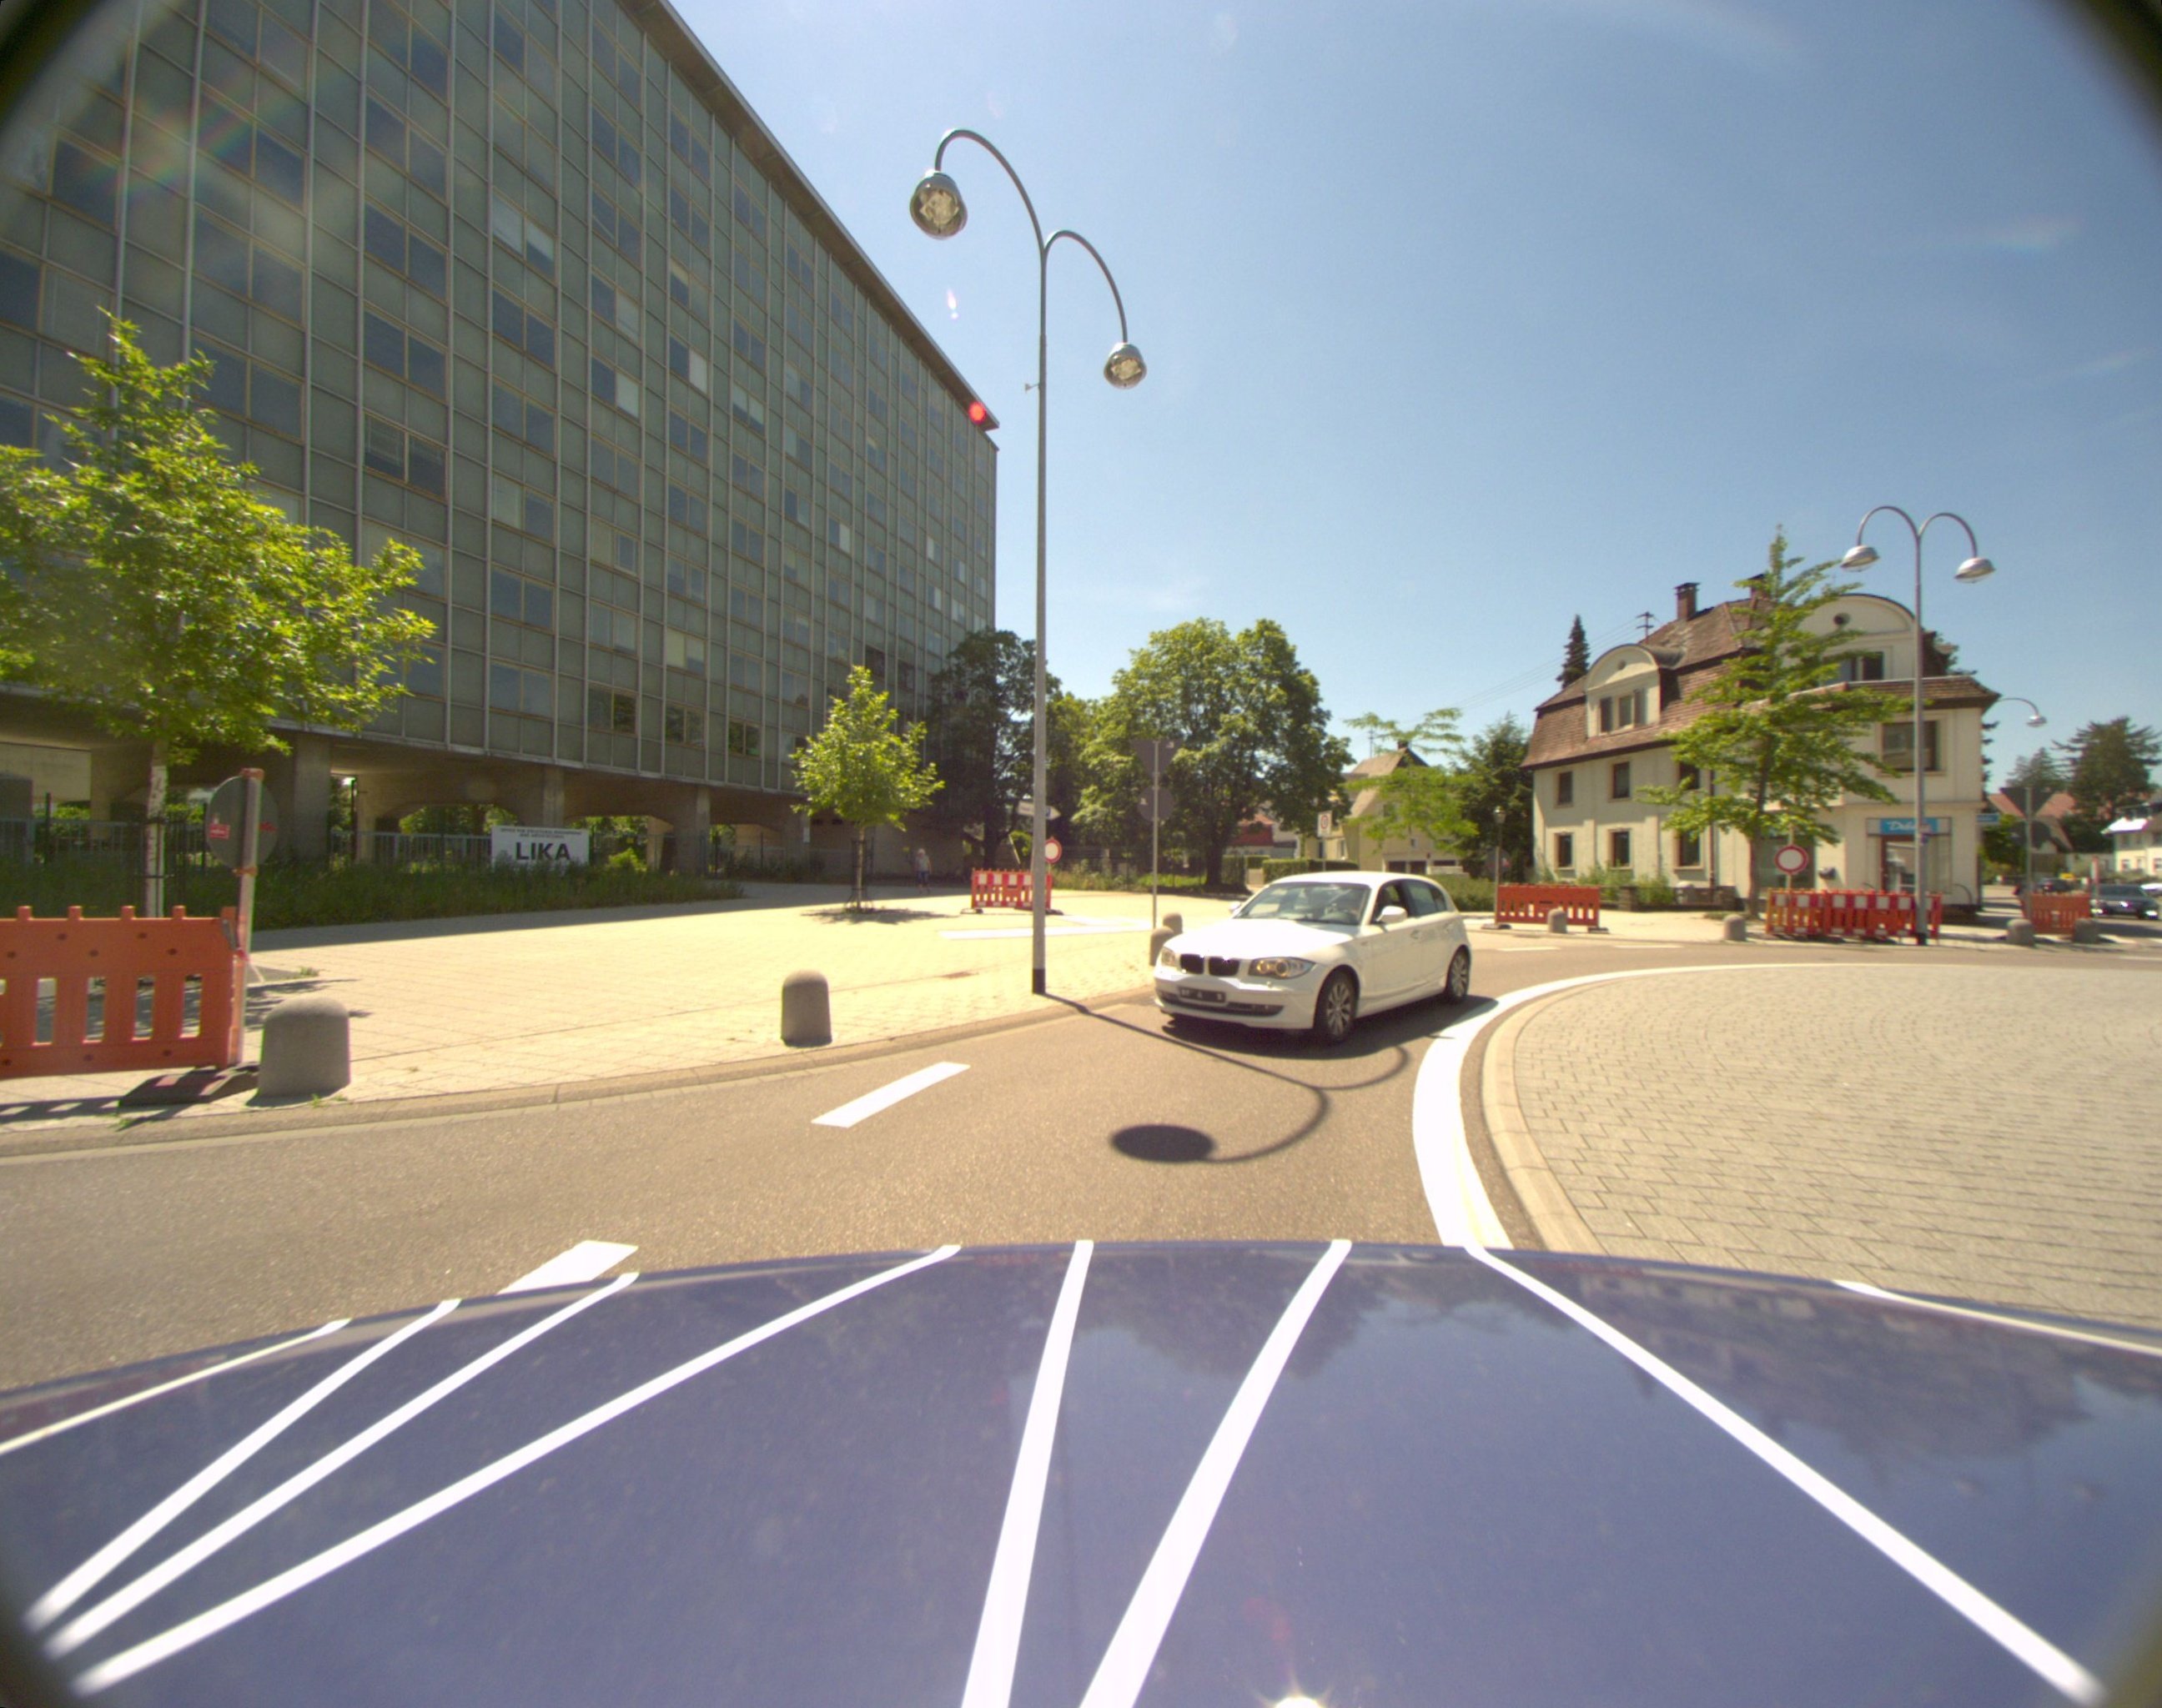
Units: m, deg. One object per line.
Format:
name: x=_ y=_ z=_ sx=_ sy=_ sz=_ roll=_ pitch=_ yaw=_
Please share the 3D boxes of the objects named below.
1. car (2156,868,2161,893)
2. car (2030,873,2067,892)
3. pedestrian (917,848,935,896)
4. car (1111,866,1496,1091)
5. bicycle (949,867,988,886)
car: x=84.013 y=2.070 z=56.466 sx=4.352 sy=1.866 sz=1.854 roll=2 pitch=0 yaw=34
car: x=85.970 y=2.515 z=67.500 sx=4.030 sy=1.444 sz=1.660 roll=-1 pitch=4 yaw=-33
pedestrian: x=-5.714 y=0.655 z=27.933 sx=0.566 sy=1.698 sz=0.486 roll=3 pitch=1 yaw=-12
car: x=2.426 y=1.003 z=7.625 sx=4.137 sy=1.541 sz=1.783 roll=-1 pitch=-4 yaw=-44
bicycle: x=-5.348 y=1.072 z=36.209 sx=1.753 sy=0.902 sz=0.448 roll=1 pitch=0 yaw=-1
